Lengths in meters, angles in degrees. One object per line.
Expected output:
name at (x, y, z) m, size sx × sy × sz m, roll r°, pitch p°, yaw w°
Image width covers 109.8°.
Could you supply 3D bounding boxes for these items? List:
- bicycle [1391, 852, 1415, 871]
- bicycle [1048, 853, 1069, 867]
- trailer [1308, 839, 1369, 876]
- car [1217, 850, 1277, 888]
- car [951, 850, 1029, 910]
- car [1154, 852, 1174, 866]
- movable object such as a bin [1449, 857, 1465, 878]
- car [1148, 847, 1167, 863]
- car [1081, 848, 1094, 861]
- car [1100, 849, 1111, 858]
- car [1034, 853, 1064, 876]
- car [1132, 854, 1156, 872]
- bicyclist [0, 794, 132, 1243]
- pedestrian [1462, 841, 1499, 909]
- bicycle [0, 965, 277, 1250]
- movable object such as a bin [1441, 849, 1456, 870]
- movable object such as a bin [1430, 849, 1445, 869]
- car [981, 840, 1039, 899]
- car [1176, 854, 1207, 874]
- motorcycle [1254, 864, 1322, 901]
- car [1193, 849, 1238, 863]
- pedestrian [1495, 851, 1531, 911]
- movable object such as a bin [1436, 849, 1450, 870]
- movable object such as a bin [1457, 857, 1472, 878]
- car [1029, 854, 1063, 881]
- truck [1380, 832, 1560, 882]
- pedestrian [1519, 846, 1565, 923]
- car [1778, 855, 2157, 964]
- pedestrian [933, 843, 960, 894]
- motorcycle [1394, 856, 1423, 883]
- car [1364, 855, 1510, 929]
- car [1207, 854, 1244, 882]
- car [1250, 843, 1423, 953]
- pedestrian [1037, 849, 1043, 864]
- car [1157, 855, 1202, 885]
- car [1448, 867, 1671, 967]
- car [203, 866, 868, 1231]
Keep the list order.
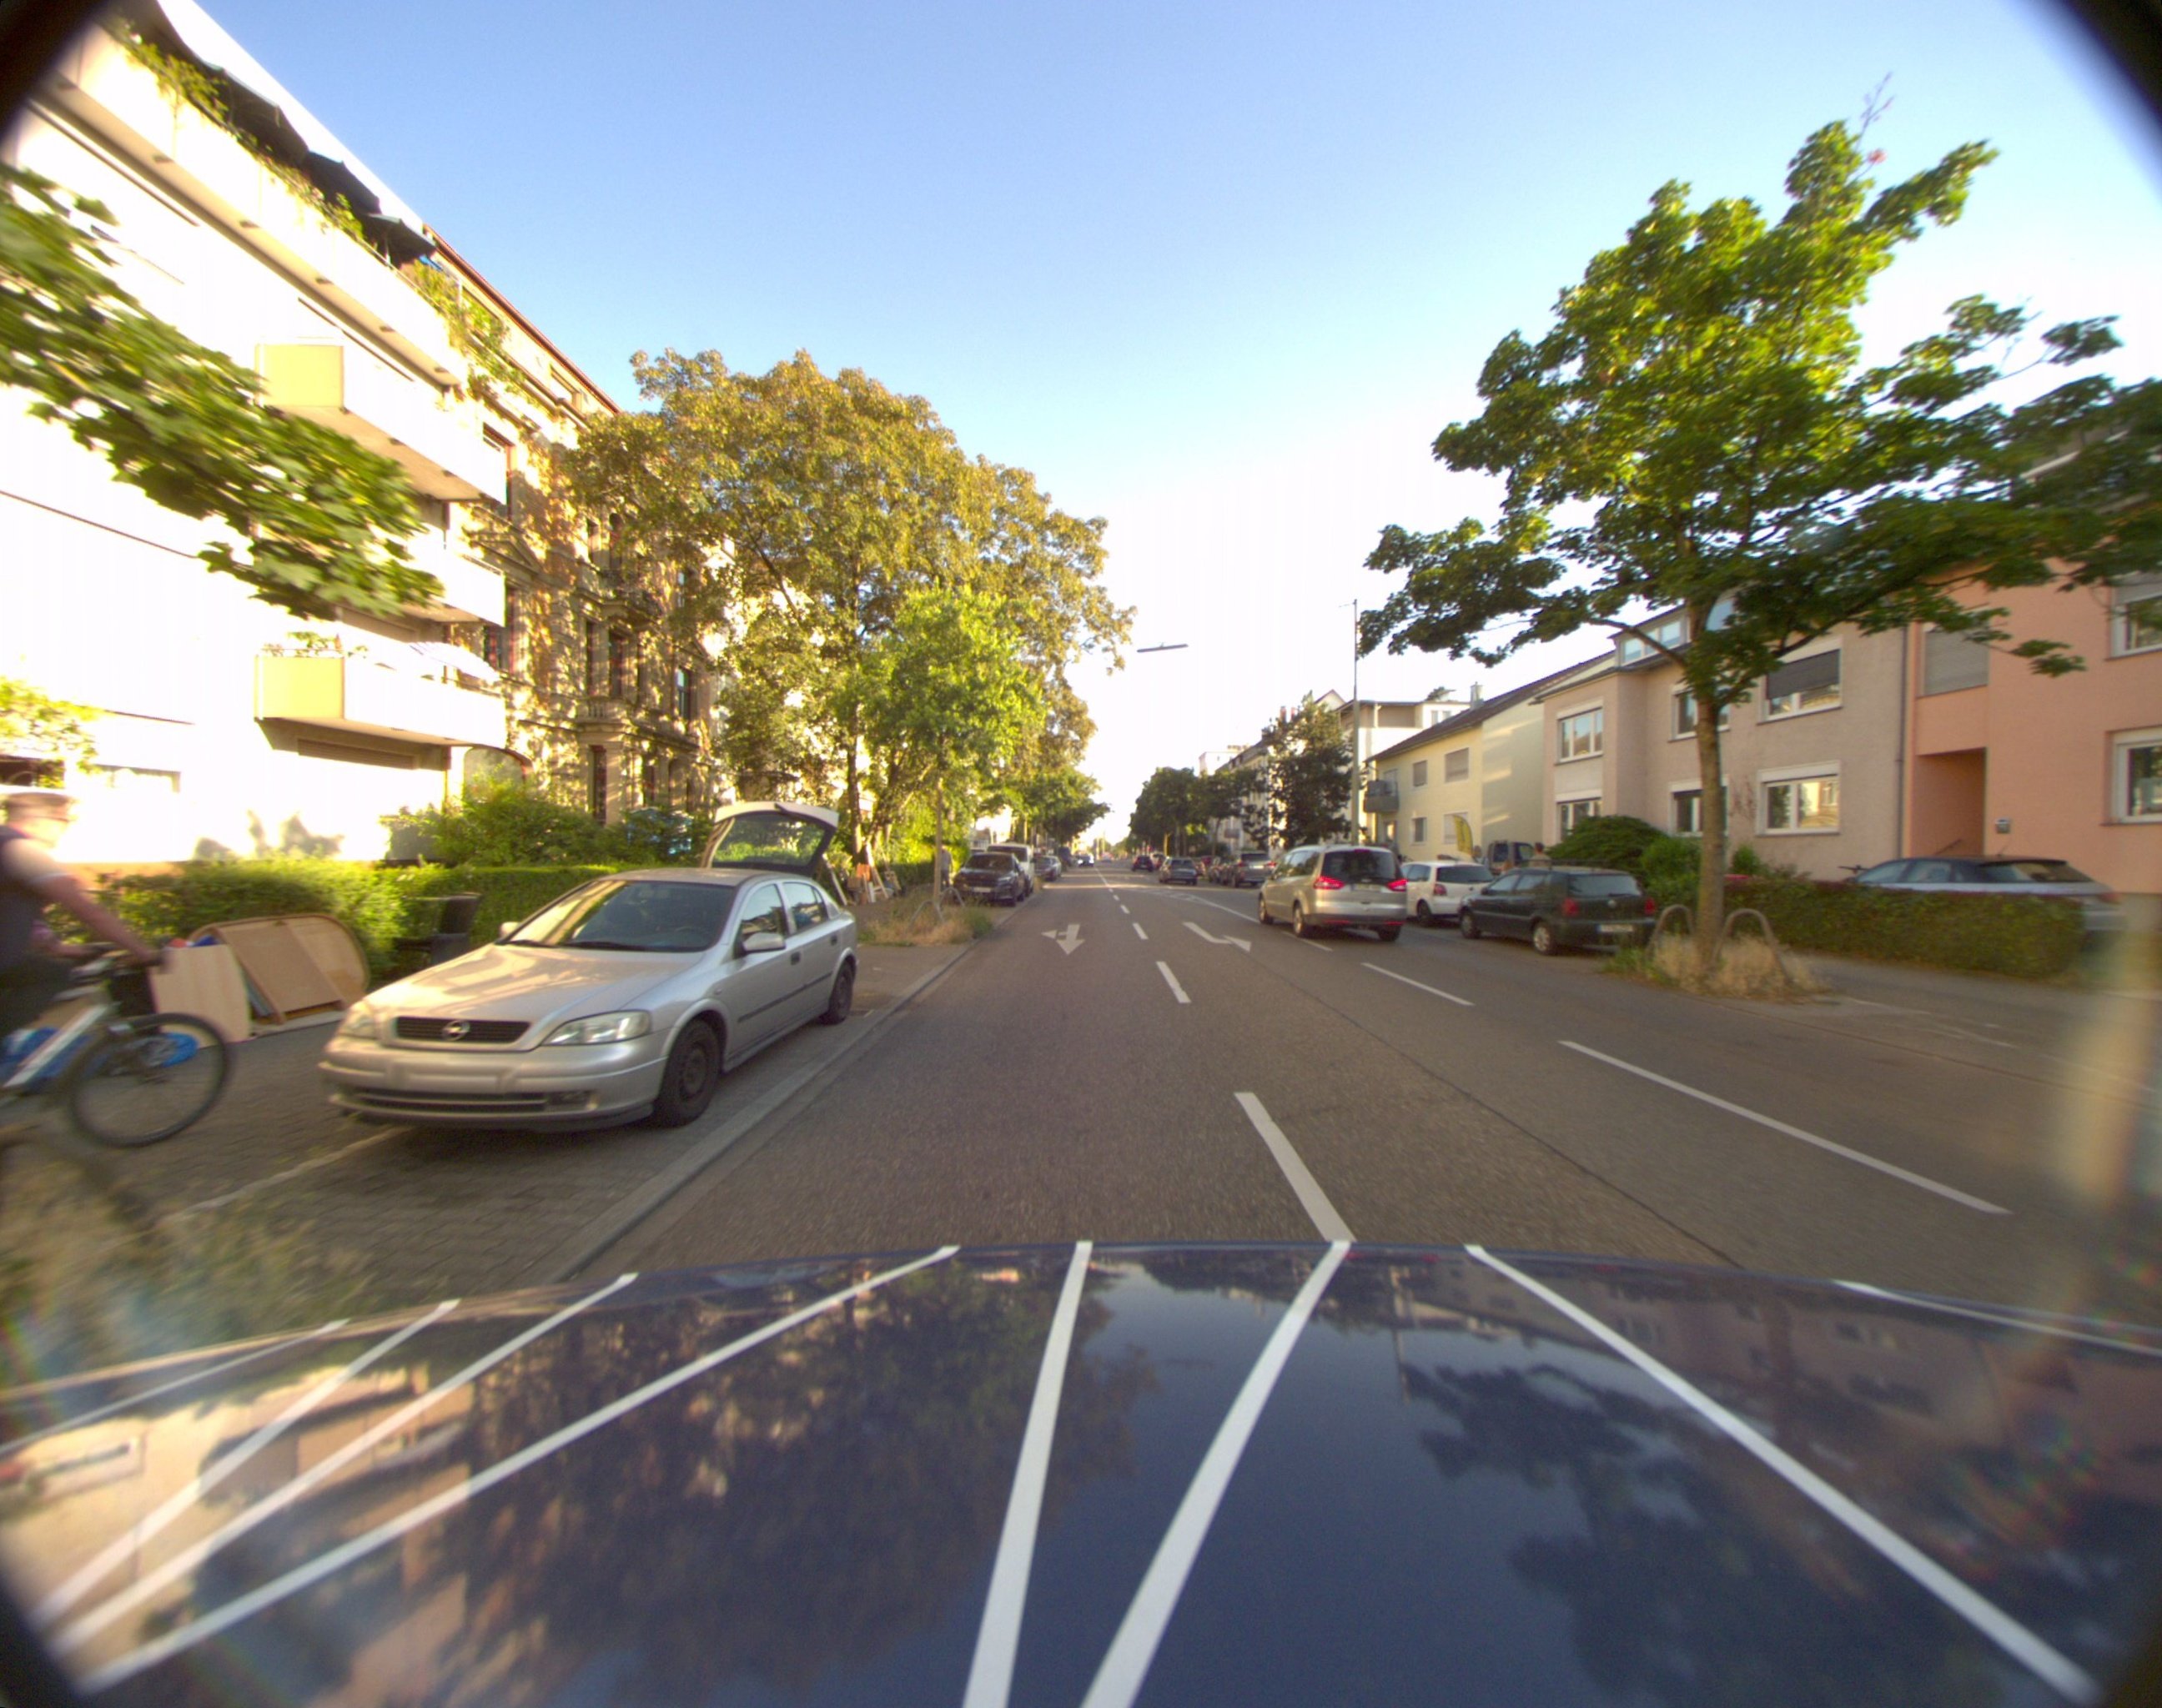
bicycle at (18.678, 0.441, 44.045) m, size 0.520 × 1.057 × 2.046 m, roll 0°, pitch 1°, yaw 0°
bicycle at (-2.059, 0.544, 69.436) m, size 1.894 × 1.155 × 0.616 m, roll 2°, pitch 2°, yaw 28°
trailer at (14.265, 0.161, 42.184) m, size 2.780 × 2.002 × 1.552 m, roll 0°, pitch 1°, yaw -2°
car at (8.259, 0.690, 38.185) m, size 1.892 × 1.769 × 4.725 m, roll 0°, pitch 1°, yaw -1°
car at (-2.731, 0.730, 23.741) m, size 1.860 × 1.594 × 4.311 m, roll 3°, pitch 1°, yaw 0°
car at (8.672, 0.479, 79.993) m, size 1.740 × 1.455 × 3.636 m, roll 0°, pitch 1°, yaw 0°
movable object such as a bin at (18.262, 0.646, 36.902) m, size 0.504 × 1.013 × 0.450 m, roll 0°, pitch 1°, yaw 0°
car at (8.751, 0.110, 86.960) m, size 1.740 × 1.799 × 4.191 m, roll 0°, pitch 1°, yaw 0°
car at (0.779, 0.056, 96.451) m, size 1.596 × 1.696 × 3.999 m, roll 0°, pitch 1°, yaw 0°
car at (4.927, -0.149, 150.467) m, size 1.893 × 1.793 × 4.430 m, roll 2°, pitch 1°, yaw -1°
car at (-2.194, 0.709, 53.180) m, size 1.826 × 1.469 × 4.621 m, roll 0°, pitch 1°, yaw 1°
car at (5.851, 0.804, 70.739) m, size 1.840 × 1.561 × 3.999 m, roll 2°, pitch 1°, yaw 0°
bicyclist at (-4.577, 0.652, 2.989) m, size 0.582 × 1.778 × 0.852 m, roll 0°, pitch 1°, yaw 1°
pedestrian at (10.638, 0.547, 20.254) m, size 0.715 × 1.782 × 0.506 m, roll 0°, pitch 1°, yaw 3°
bicycle at (-4.573, 1.089, 3.145) m, size 0.517 × 0.981 × 1.831 m, roll 0°, pitch 0°, yaw 1°
movable object such as a bin at (18.375, 0.282, 37.956) m, size 0.504 × 1.013 × 0.450 m, roll 0°, pitch 1°, yaw 0°
movable object such as a bin at (18.314, 0.277, 39.033) m, size 0.504 × 1.013 × 0.450 m, roll 0°, pitch 1°, yaw 0°
car at (-2.664, 0.538, 29.660) m, size 1.908 × 2.091 × 4.640 m, roll 0°, pitch 1°, yaw -1°
car at (8.163, 0.742, 56.483) m, size 1.641 × 1.399 × 4.443 m, roll 0°, pitch 1°, yaw 0°
motorcycle at (7.625, 1.009, 28.134) m, size 1.184 × 1.259 × 2.365 m, roll 0°, pitch 1°, yaw -23°
car at (15.100, 0.197, 85.243) m, size 4.564 × 1.397 × 1.739 m, roll -2°, pitch 1°, yaw -10°
pedestrian at (10.772, 0.662, 18.965) m, size 0.591 × 1.487 × 0.542 m, roll 0°, pitch 1°, yaw 3°
movable object such as a bin at (18.325, 0.281, 38.479) m, size 0.504 × 1.013 × 0.450 m, roll 0°, pitch 1°, yaw 0°
movable object such as a bin at (18.298, 0.650, 36.255) m, size 0.504 × 1.013 × 0.450 m, roll 0°, pitch 1°, yaw 0°
car at (-2.008, 0.731, 44.897) m, size 1.761 × 1.412 × 4.614 m, roll 2°, pitch 1°, yaw 0°
truck at (17.397, 0.119, 34.223) m, size 6.912 × 2.172 × 2.276 m, roll 0°, pitch 1°, yaw 0°
pedestrian at (10.766, 0.698, 17.768) m, size 0.715 × 1.782 × 0.572 m, roll 0°, pitch 1°, yaw 3°
car at (13.606, 0.754, 12.069) m, size 1.668 × 1.401 × 3.753 m, roll 1°, pitch 0°, yaw 2°
pedestrian at (-4.723, 0.491, 26.694) m, size 0.823 × 1.763 × 1.088 m, roll 0°, pitch 1°, yaw -4°
motorcycle at (17.298, 0.783, 40.221) m, size 0.572 × 1.366 × 2.258 m, roll 0°, pitch 0°, yaw 0°
car at (8.222, 0.804, 17.939) m, size 1.597 × 1.514 × 3.890 m, roll 0°, pitch 1°, yaw -1°
car at (8.314, 0.783, 43.781) m, size 1.577 × 1.546 × 2.749 m, roll 0°, pitch 1°, yaw -1°
car at (4.817, 0.717, 15.141) m, size 1.810 × 1.794 × 4.745 m, roll 2°, pitch 1°, yaw 0°
pedestrian at (-5.122, 0.310, 94.582) m, size 0.619 × 1.761 × 0.562 m, roll 0°, pitch 0°, yaw 1°
car at (5.313, 0.808, 41.367) m, size 1.765 × 1.443 × 4.533 m, roll 2°, pitch 0°, yaw -1°
car at (7.992, 0.974, 13.115) m, size 1.547 × 1.388 × 3.665 m, roll 0°, pitch 1°, yaw 0°
car at (-3.027, 0.903, 5.512) m, size 1.712 × 1.472 × 4.268 m, roll 2°, pitch 1°, yaw 0°
